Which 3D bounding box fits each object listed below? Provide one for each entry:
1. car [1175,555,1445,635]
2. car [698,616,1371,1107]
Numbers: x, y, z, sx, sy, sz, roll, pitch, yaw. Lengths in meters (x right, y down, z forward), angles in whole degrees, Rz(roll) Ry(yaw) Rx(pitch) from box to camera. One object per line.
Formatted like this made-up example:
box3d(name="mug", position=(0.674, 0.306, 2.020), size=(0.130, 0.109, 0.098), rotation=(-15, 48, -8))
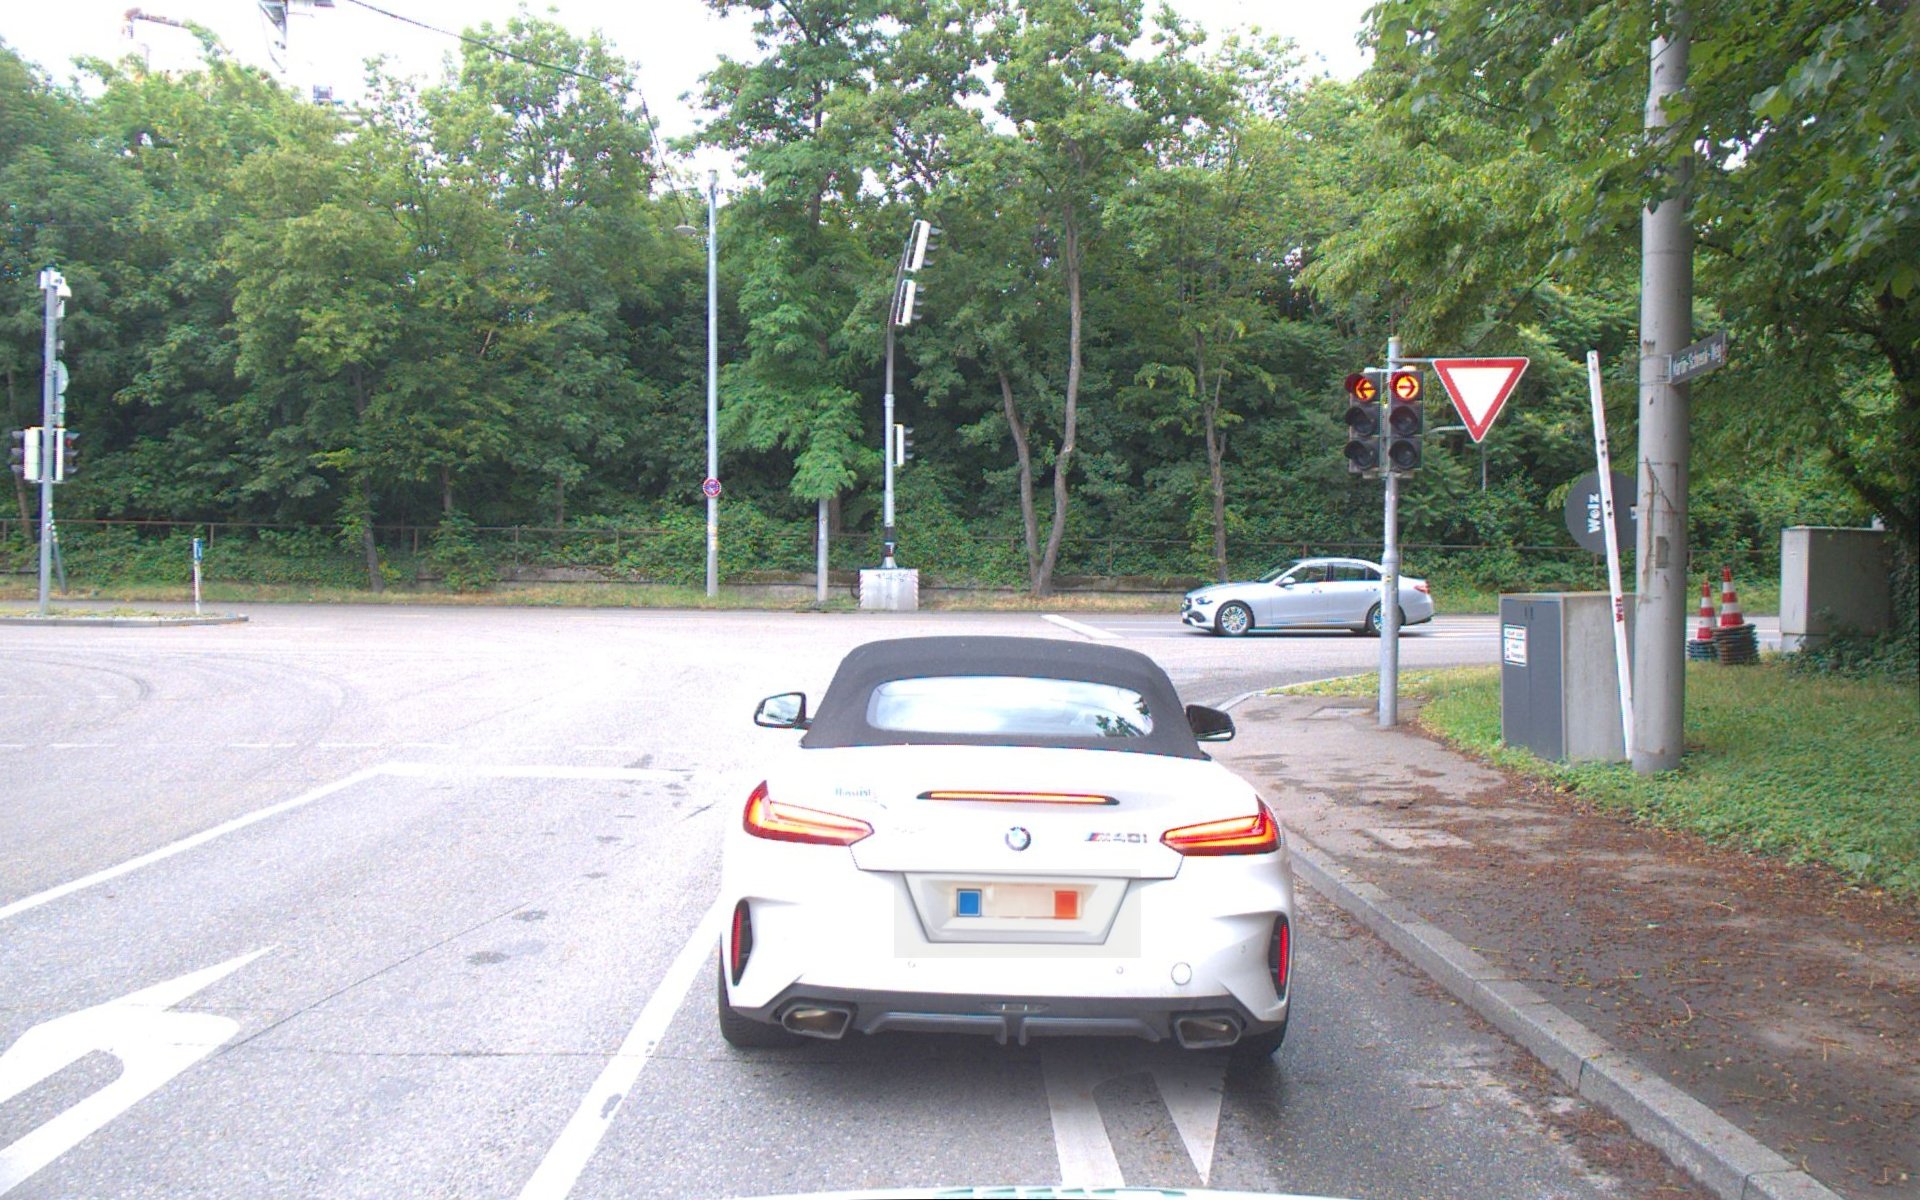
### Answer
box3d(name="car", position=(6.524, -0.118, 31.144), size=(4.656, 1.356, 1.833), rotation=(1, 3, -3))
box3d(name="car", position=(0.116, 0.750, 6.458), size=(1.791, 1.279, 3.997), rotation=(2, -1, -3))
